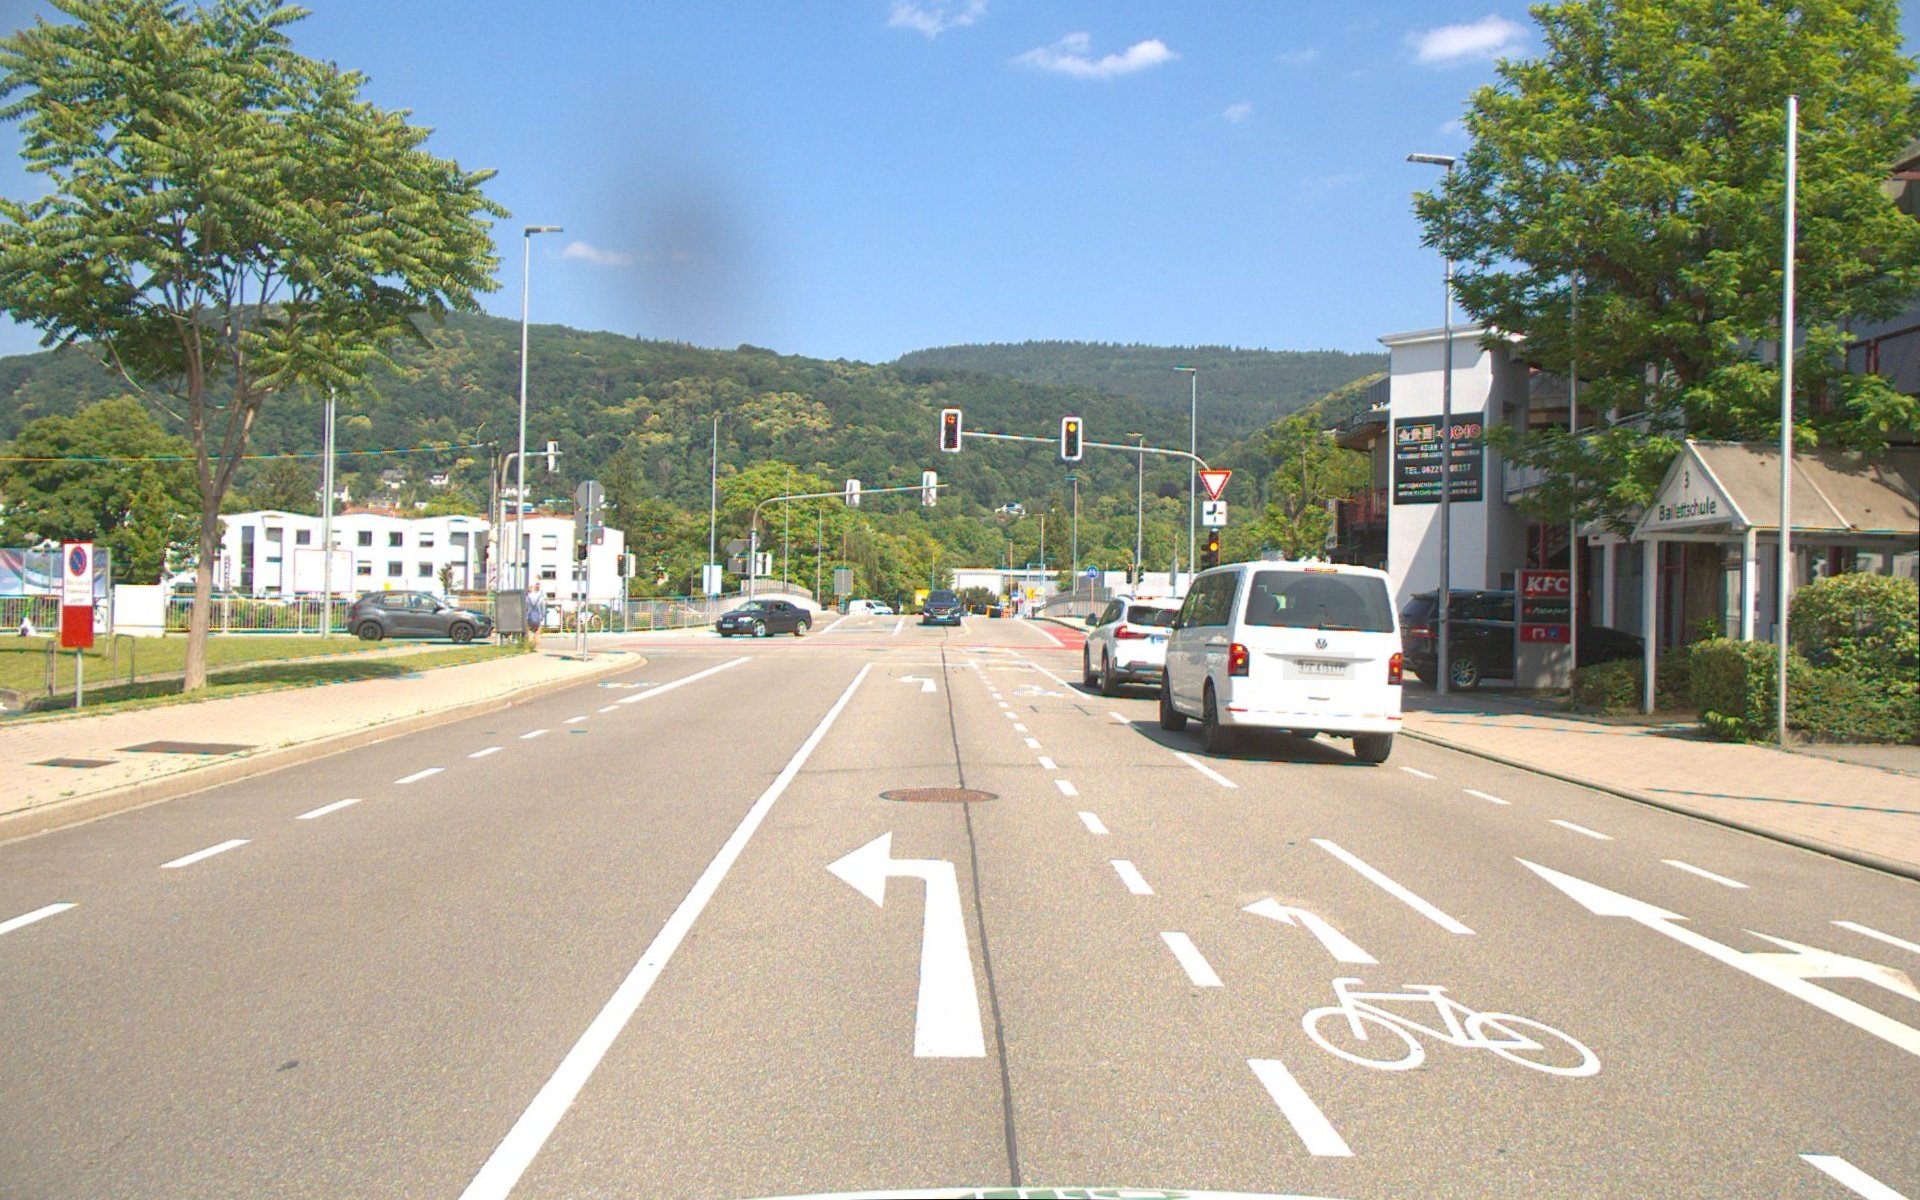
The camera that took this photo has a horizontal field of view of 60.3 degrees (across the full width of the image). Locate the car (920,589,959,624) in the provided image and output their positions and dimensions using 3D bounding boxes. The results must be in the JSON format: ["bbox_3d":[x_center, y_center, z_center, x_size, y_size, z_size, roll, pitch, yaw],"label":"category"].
[{"bbox_3d":[-1.000,0.299,79.301,1.812,1.616,3.999,1,0,-1],"label":"car"}]

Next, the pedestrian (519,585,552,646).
[{"bbox_3d":[-11.287,0.403,43.990,0.684,1.601,0.675,1,0,-4],"label":"pedestrian"}]

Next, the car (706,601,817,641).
[{"bbox_3d":[-7.402,0.758,62.053,1.957,1.394,4.318,1,0,30],"label":"car"}]

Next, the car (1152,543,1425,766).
[{"bbox_3d":[3.448,0.508,18.290,1.896,2.095,4.542,2,0,-2],"label":"car"}]

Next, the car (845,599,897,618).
[{"bbox_3d":[-7.824,0.728,144.756,4.370,1.616,1.850,1,0,34],"label":"car"}]

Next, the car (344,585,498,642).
[{"bbox_3d":[-15.997,0.393,49.268,4.248,1.620,1.990,1,0,-18],"label":"car"}]

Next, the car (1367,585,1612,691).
[{"bbox_3d":[9.588,0.661,30.233,3.903,1.806,2.001,1,0,5],"label":"car"}]

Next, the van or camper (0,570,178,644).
[{"bbox_3d":[-22.151,0.167,41.916,3.927,1.601,1.989,3,0,-19],"label":"van or camper"}]

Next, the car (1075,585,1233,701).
[{"bbox_3d":[3.187,0.664,28.105,1.896,1.716,4.542,3,0,-3],"label":"car"}]
